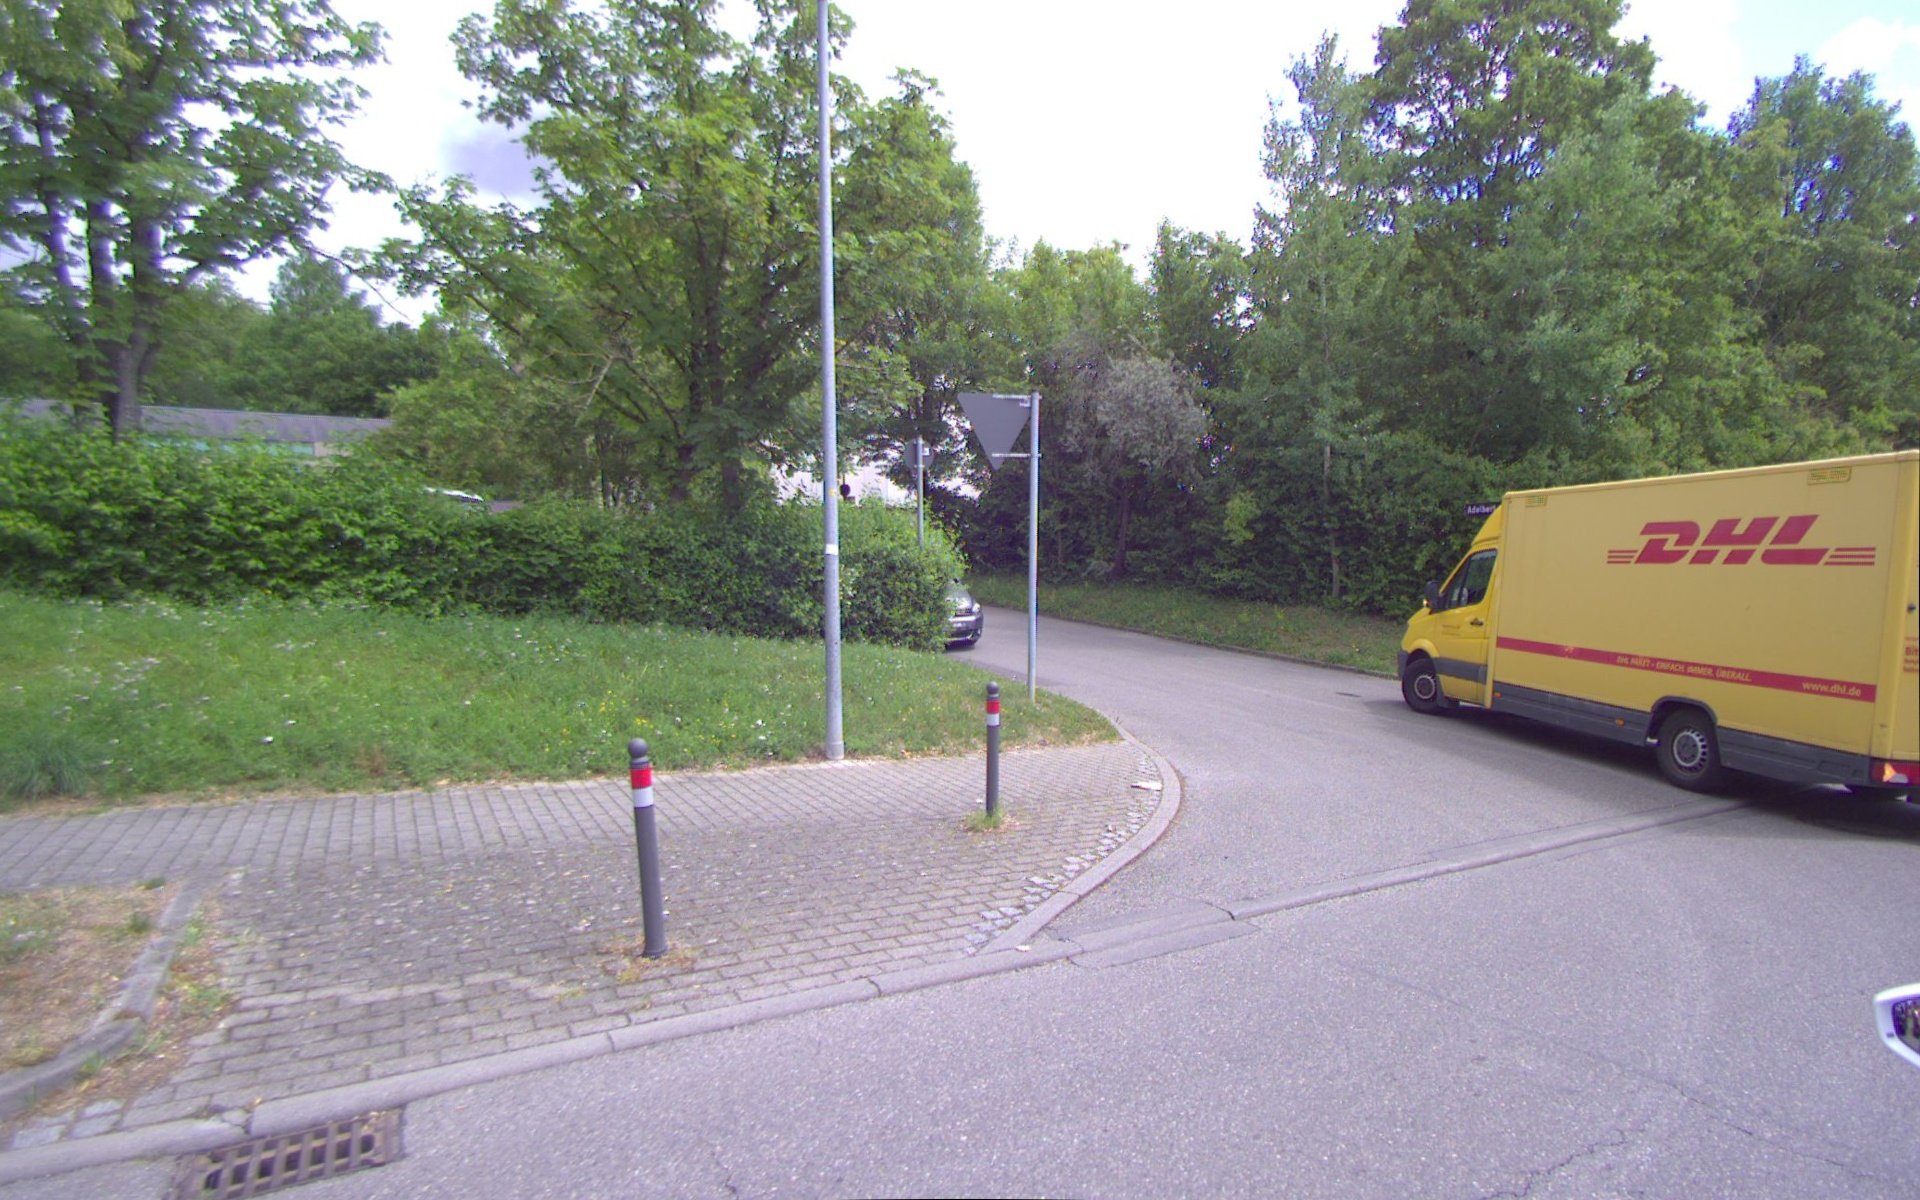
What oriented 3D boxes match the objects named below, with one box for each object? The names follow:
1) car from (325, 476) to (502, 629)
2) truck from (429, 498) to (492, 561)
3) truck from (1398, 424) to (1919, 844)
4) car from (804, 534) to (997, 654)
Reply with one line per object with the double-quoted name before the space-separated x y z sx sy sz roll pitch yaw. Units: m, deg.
"car" -8.133 -0.786 14.803 1.978 1.885 3.964 2 5 -32
"truck" -32.677 -4.586 65.551 2.554 3.743 7.261 1 3 -35
"truck" 7.123 0.133 10.127 2.190 2.847 6.567 1 2 -3
"car" -1.193 -0.188 18.014 1.737 1.684 4.085 1 5 -30
